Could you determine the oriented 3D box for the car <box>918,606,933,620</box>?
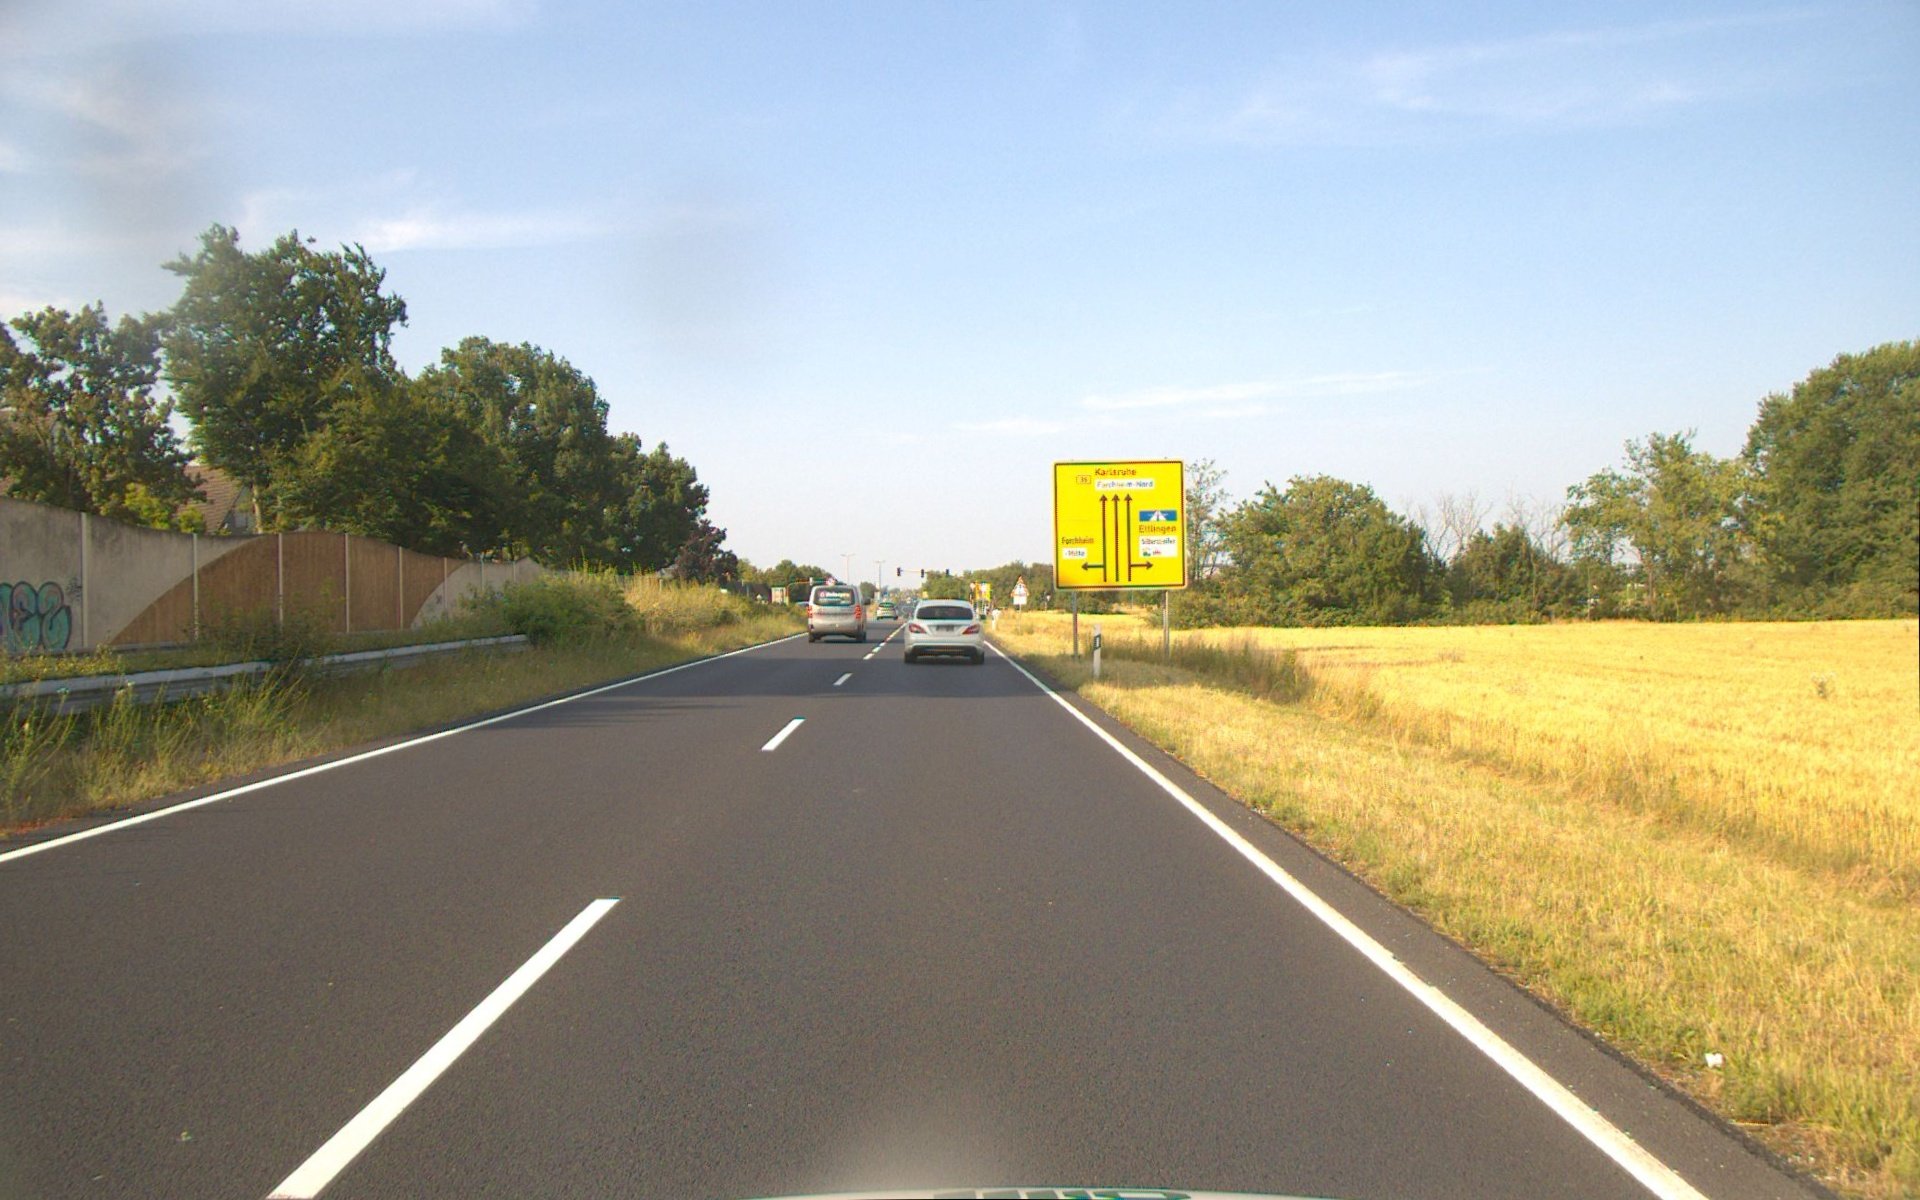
[{"bbox_3d":[-4.429,1.679,213.777,1.801,1.713,4.000,1,0,1],"label":"car"}]

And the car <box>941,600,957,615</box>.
[{"bbox_3d":[-1.223,0.826,180.586,1.718,1.543,3.999,-1,0,-1],"label":"car"}]

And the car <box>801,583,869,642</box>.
[{"bbox_3d":[-4.222,0.393,56.522,1.984,1.925,4.957,1,0,-1],"label":"car"}]

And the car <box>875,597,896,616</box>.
[{"bbox_3d":[-6.232,0.542,139.035,1.682,1.518,3.583,1,0,-1],"label":"car"}]

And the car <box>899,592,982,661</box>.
[{"bbox_3d":[-0.489,0.588,38.818,1.856,1.535,3.998,0,0,-2],"label":"car"}]

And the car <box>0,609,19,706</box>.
[{"bbox_3d":[-14.456,0.791,21.864,1.615,1.384,4.288,2,0,-2],"label":"car"}]
